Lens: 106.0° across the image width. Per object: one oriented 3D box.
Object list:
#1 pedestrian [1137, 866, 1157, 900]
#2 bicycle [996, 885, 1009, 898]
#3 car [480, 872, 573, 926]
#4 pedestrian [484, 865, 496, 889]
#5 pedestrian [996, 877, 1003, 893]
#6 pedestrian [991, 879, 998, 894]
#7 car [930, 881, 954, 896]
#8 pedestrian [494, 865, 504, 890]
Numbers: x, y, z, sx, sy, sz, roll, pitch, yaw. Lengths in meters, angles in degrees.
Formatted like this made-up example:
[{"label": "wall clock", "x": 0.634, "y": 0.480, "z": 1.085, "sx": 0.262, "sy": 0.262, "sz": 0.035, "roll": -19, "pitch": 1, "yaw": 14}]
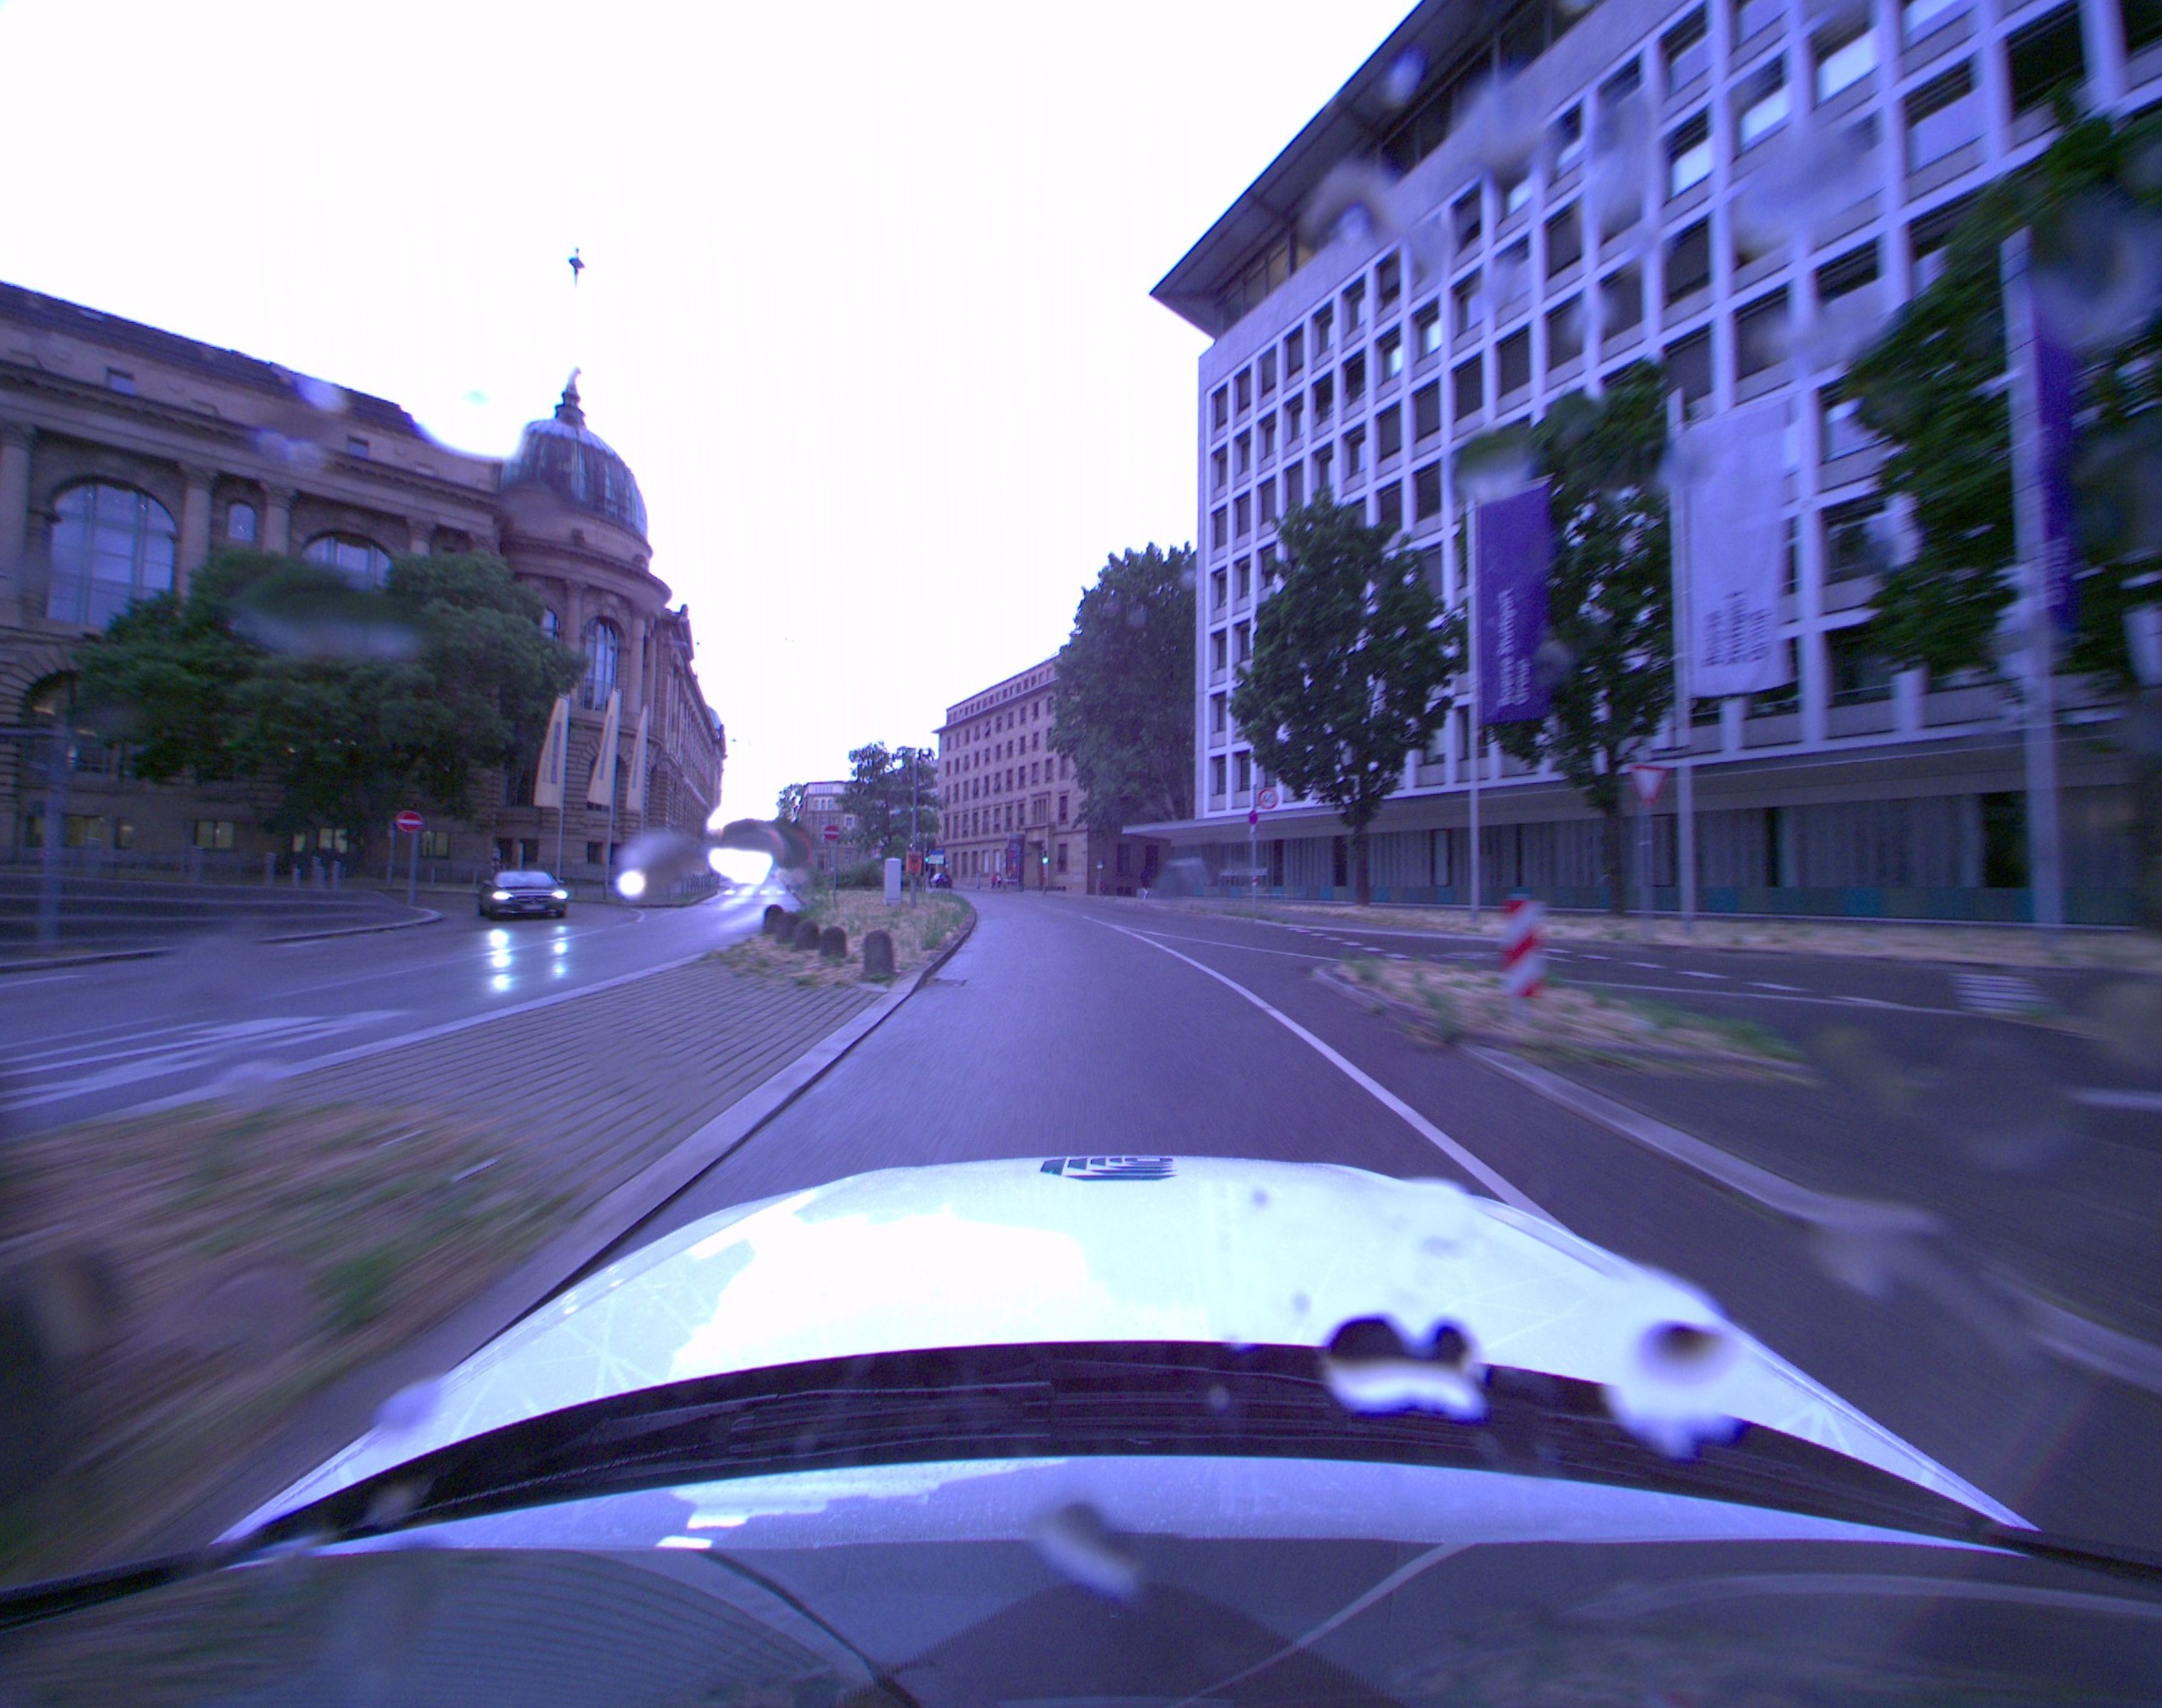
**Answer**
[{"label": "pedestrian", "x": 3.464, "y": 1.542, "z": 42.949, "sx": 0.781, "sy": 1.772, "sz": 0.858, "roll": 2, "pitch": -3, "yaw": -17}, {"label": "bicycle", "x": -6.314, "y": 3.025, "z": 65.371, "sx": 0.491, "sy": 1.012, "sz": 1.912, "roll": 3, "pitch": -3, "yaw": -24}, {"label": "car", "x": -17.101, "y": 1.355, "z": 25.317, "sx": 2.006, "sy": 1.493, "sz": 4.794, "roll": 1, "pitch": -3, "yaw": -30}, {"label": "pedestrian", "x": -32.754, "y": 1.279, "z": 45.163, "sx": 0.443, "sy": 1.345, "sz": 0.637, "roll": 3, "pitch": -3, "yaw": -40}, {"label": "pedestrian", "x": -8.334, "y": 3.201, "z": 83.014, "sx": 0.526, "sy": 1.603, "sz": 0.669, "roll": 2, "pitch": -3, "yaw": -20}, {"label": "pedestrian", "x": -8.834, "y": 3.282, "z": 82.795, "sx": 0.526, "sy": 1.492, "sz": 0.668, "roll": 2, "pitch": -3, "yaw": -23}, {"label": "car", "x": -15.580, "y": 3.867, "z": 91.205, "sx": 1.776, "sy": 1.620, "sz": 4.124, "roll": 3, "pitch": -3, "yaw": -23}, {"label": "pedestrian", "x": -31.666, "y": 1.293, "z": 44.298, "sx": 0.389, "sy": 1.345, "sz": 0.436, "roll": 3, "pitch": -3, "yaw": -40}]
